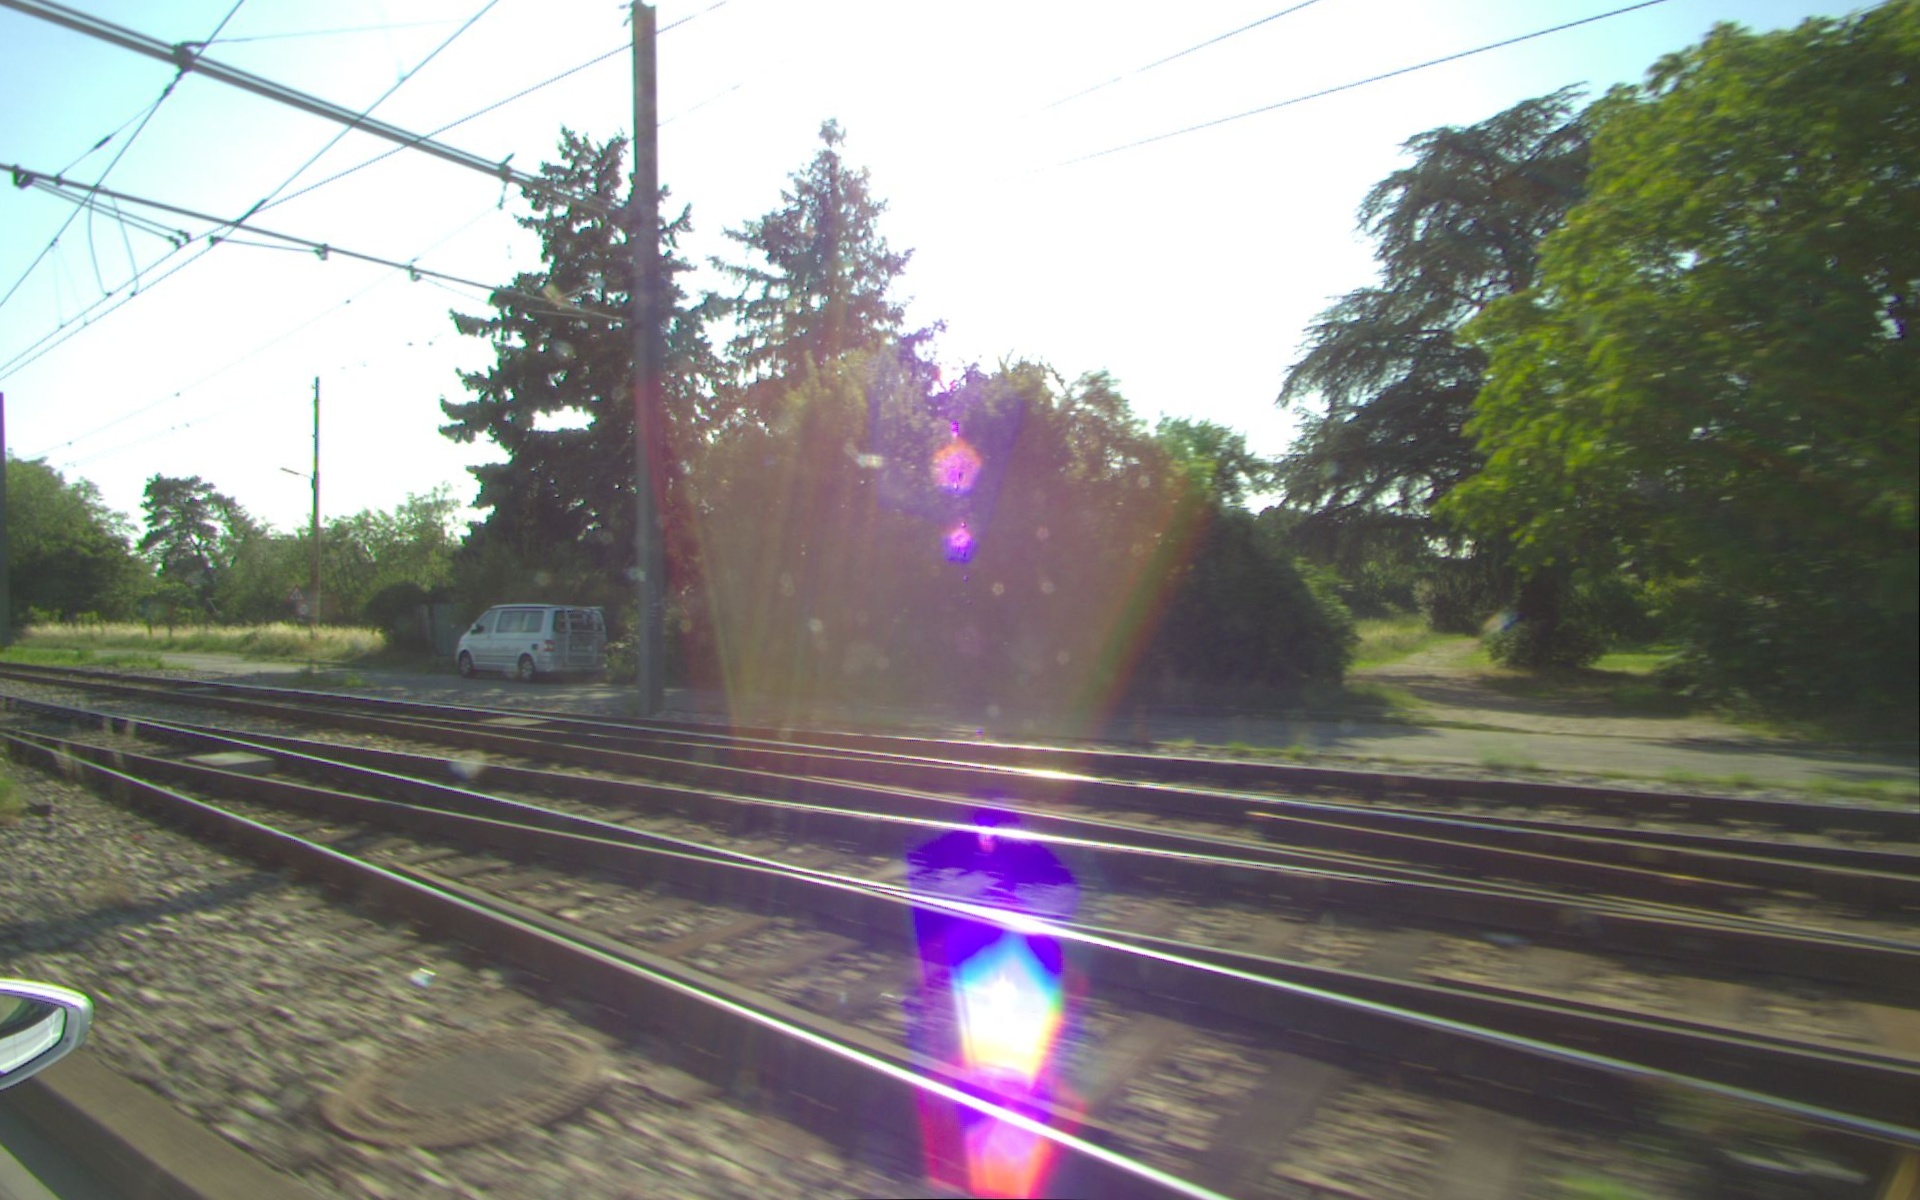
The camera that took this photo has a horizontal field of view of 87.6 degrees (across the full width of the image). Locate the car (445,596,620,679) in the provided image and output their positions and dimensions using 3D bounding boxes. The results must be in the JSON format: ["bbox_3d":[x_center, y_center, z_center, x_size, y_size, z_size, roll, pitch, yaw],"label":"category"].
[{"bbox_3d":[-11.442,0.991,26.654,5.000,2.029,1.988,-1,-3,36],"label":"car"}]
